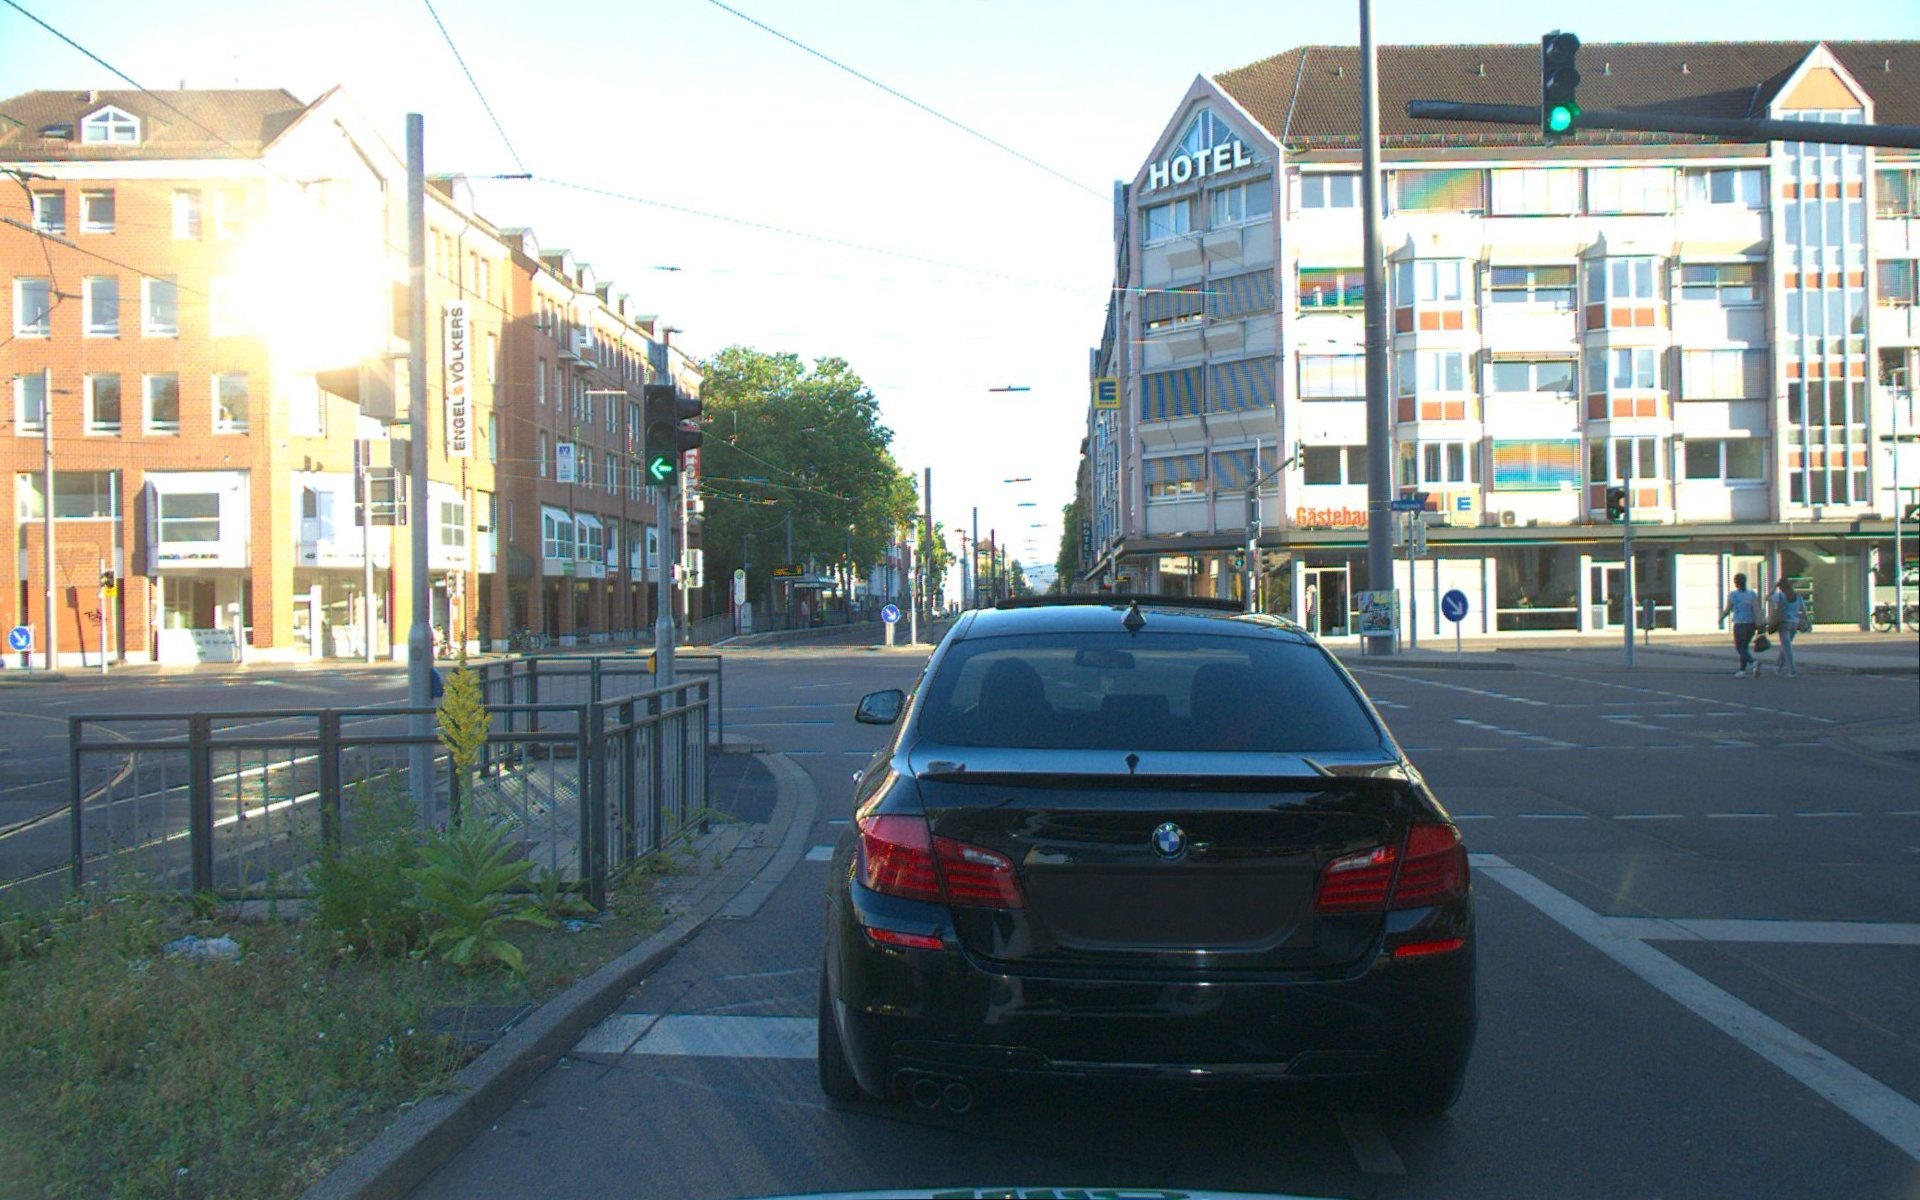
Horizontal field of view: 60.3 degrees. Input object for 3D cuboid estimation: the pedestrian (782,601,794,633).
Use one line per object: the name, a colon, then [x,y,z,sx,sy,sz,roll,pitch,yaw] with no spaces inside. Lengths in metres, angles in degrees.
pedestrian: [-9.271,0.900,89.207,0.573,1.686,0.678,-1,0,0]

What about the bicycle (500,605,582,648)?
bicycle: [-18.083,1.148,71.475,3.228,1.756,1.070,-1,0,3]

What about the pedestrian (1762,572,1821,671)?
pedestrian: [13.752,0.352,27.351,0.692,1.610,0.822,-2,0,38]

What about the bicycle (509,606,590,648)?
bicycle: [-18.016,1.175,72.643,3.229,1.756,1.069,-1,0,1]

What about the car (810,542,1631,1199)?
car: [0.552,0.647,5.808,1.803,1.521,4.291,1,0,-1]

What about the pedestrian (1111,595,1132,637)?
pedestrian: [6.239,0.619,64.002,0.691,1.575,0.907,0,3,-1]

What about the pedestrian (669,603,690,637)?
pedestrian: [-17.189,1.191,101.308,1.063,2.049,1.084,-1,0,-2]

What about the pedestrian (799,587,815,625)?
pedestrian: [-8.216,0.331,88.938,0.792,2.049,0.678,-1,0,-1]

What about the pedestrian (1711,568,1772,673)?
pedestrian: [12.774,0.334,27.017,0.713,1.678,0.768,-2,0,38]
